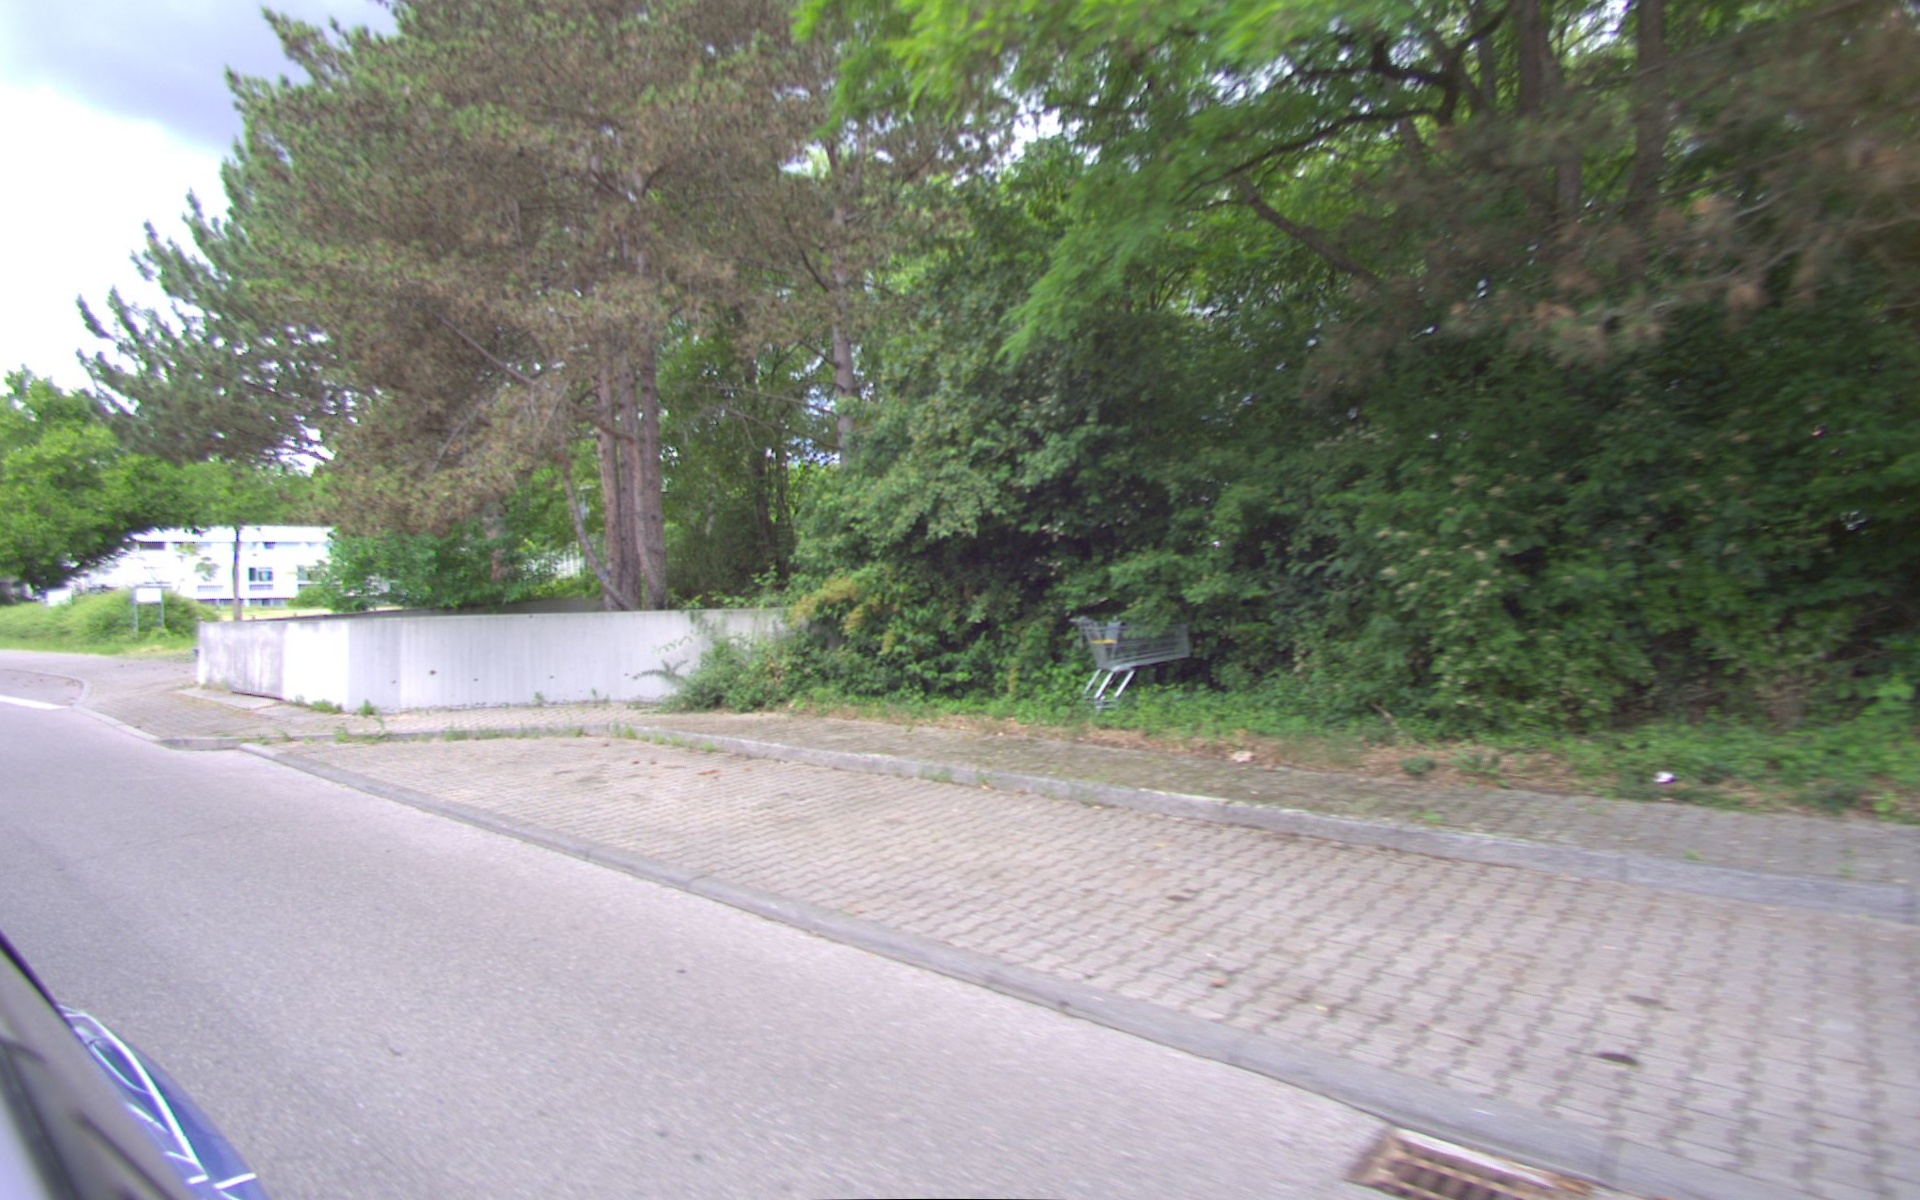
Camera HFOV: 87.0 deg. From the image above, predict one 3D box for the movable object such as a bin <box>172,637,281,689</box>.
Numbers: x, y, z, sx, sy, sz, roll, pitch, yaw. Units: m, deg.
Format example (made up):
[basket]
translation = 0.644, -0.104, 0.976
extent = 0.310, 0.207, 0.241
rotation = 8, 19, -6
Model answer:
[movable object such as a bin]
translation = -12.789, 1.089, 17.682
extent = 1.035, 0.766, 1.147
rotation = -1, 2, 3
